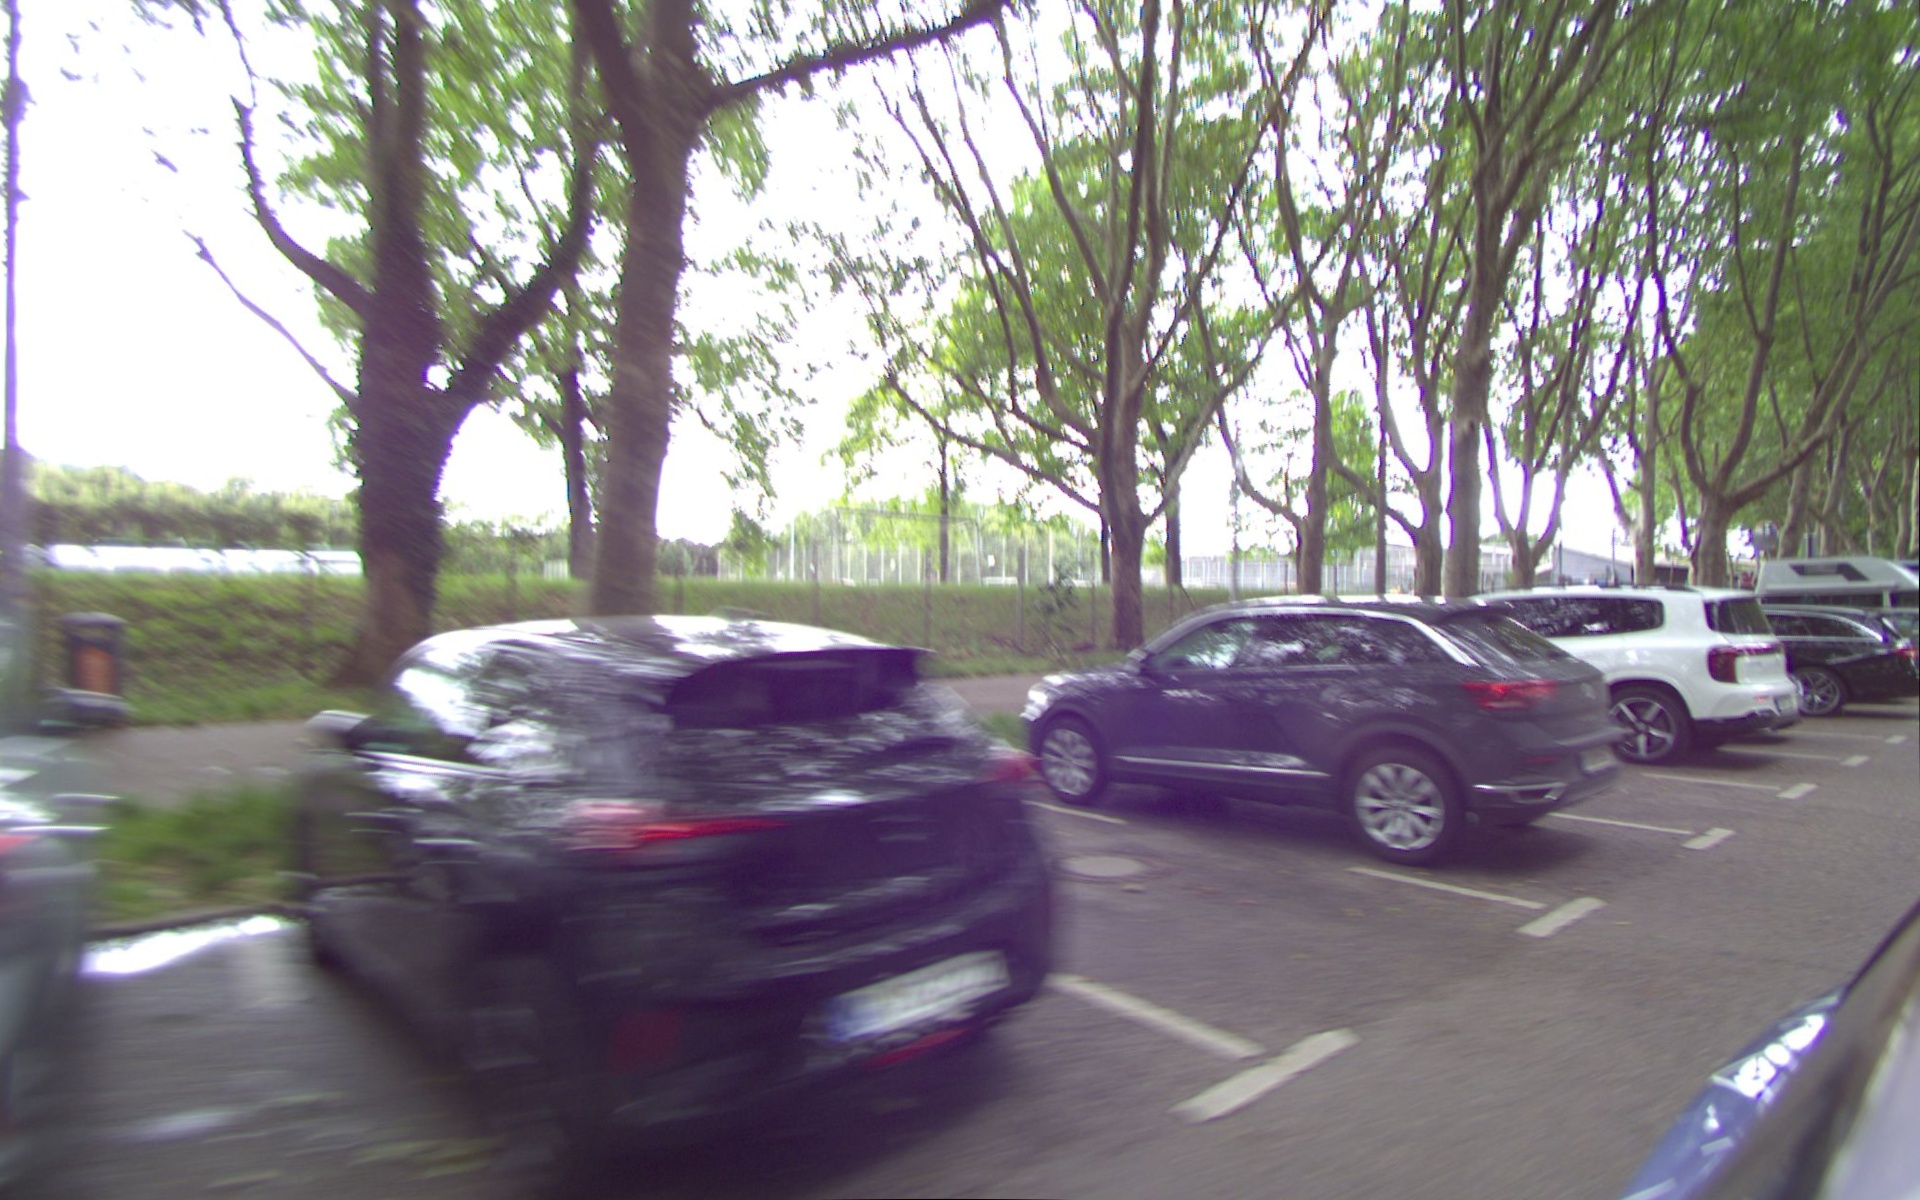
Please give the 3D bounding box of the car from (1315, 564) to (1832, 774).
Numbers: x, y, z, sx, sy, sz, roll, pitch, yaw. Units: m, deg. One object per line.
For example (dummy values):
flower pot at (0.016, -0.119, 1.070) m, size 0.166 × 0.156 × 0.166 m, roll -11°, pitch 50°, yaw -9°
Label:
car at (6.263, 0.598, 10.853) m, size 1.767 × 1.777 × 4.396 m, roll 0°, pitch -1°, yaw -37°

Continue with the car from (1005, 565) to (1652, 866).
car at (2.288, 0.588, 7.143) m, size 1.665 × 1.505 × 3.993 m, roll 0°, pitch 0°, yaw -41°

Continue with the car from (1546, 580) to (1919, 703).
car at (11.354, 0.537, 14.821) m, size 1.673 × 1.545 × 4.509 m, roll 0°, pitch -1°, yaw -41°

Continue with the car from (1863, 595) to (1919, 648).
car at (30.713, 0.632, 30.930) m, size 1.770 × 1.639 × 4.351 m, roll 0°, pitch -1°, yaw -36°

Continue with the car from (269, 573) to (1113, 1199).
car at (-1.421, 0.662, 3.914) m, size 1.665 × 1.406 × 3.833 m, roll 0°, pitch 0°, yaw -41°

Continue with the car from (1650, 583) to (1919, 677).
car at (15.430, 0.512, 18.747) m, size 1.783 × 1.545 × 4.050 m, roll 0°, pitch -1°, yaw -41°

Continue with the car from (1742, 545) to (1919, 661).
car at (22.832, 0.086, 24.977) m, size 1.922 × 2.724 × 5.240 m, roll 0°, pitch -1°, yaw -38°

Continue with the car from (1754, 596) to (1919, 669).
car at (19.474, 0.662, 21.199) m, size 1.672 × 1.447 × 4.129 m, roll -1°, pitch -2°, yaw -37°

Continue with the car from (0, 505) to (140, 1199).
car at (-3.239, 0.683, 2.594) m, size 1.665 × 1.628 × 3.833 m, roll 0°, pitch 0°, yaw -41°

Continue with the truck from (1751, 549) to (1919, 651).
truck at (26.446, -0.006, 28.461) m, size 2.059 × 2.749 × 6.309 m, roll 0°, pitch 0°, yaw -38°

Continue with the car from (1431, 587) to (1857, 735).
car at (8.507, 0.659, 12.961) m, size 1.668 × 1.577 × 4.197 m, roll 0°, pitch 0°, yaw -36°
